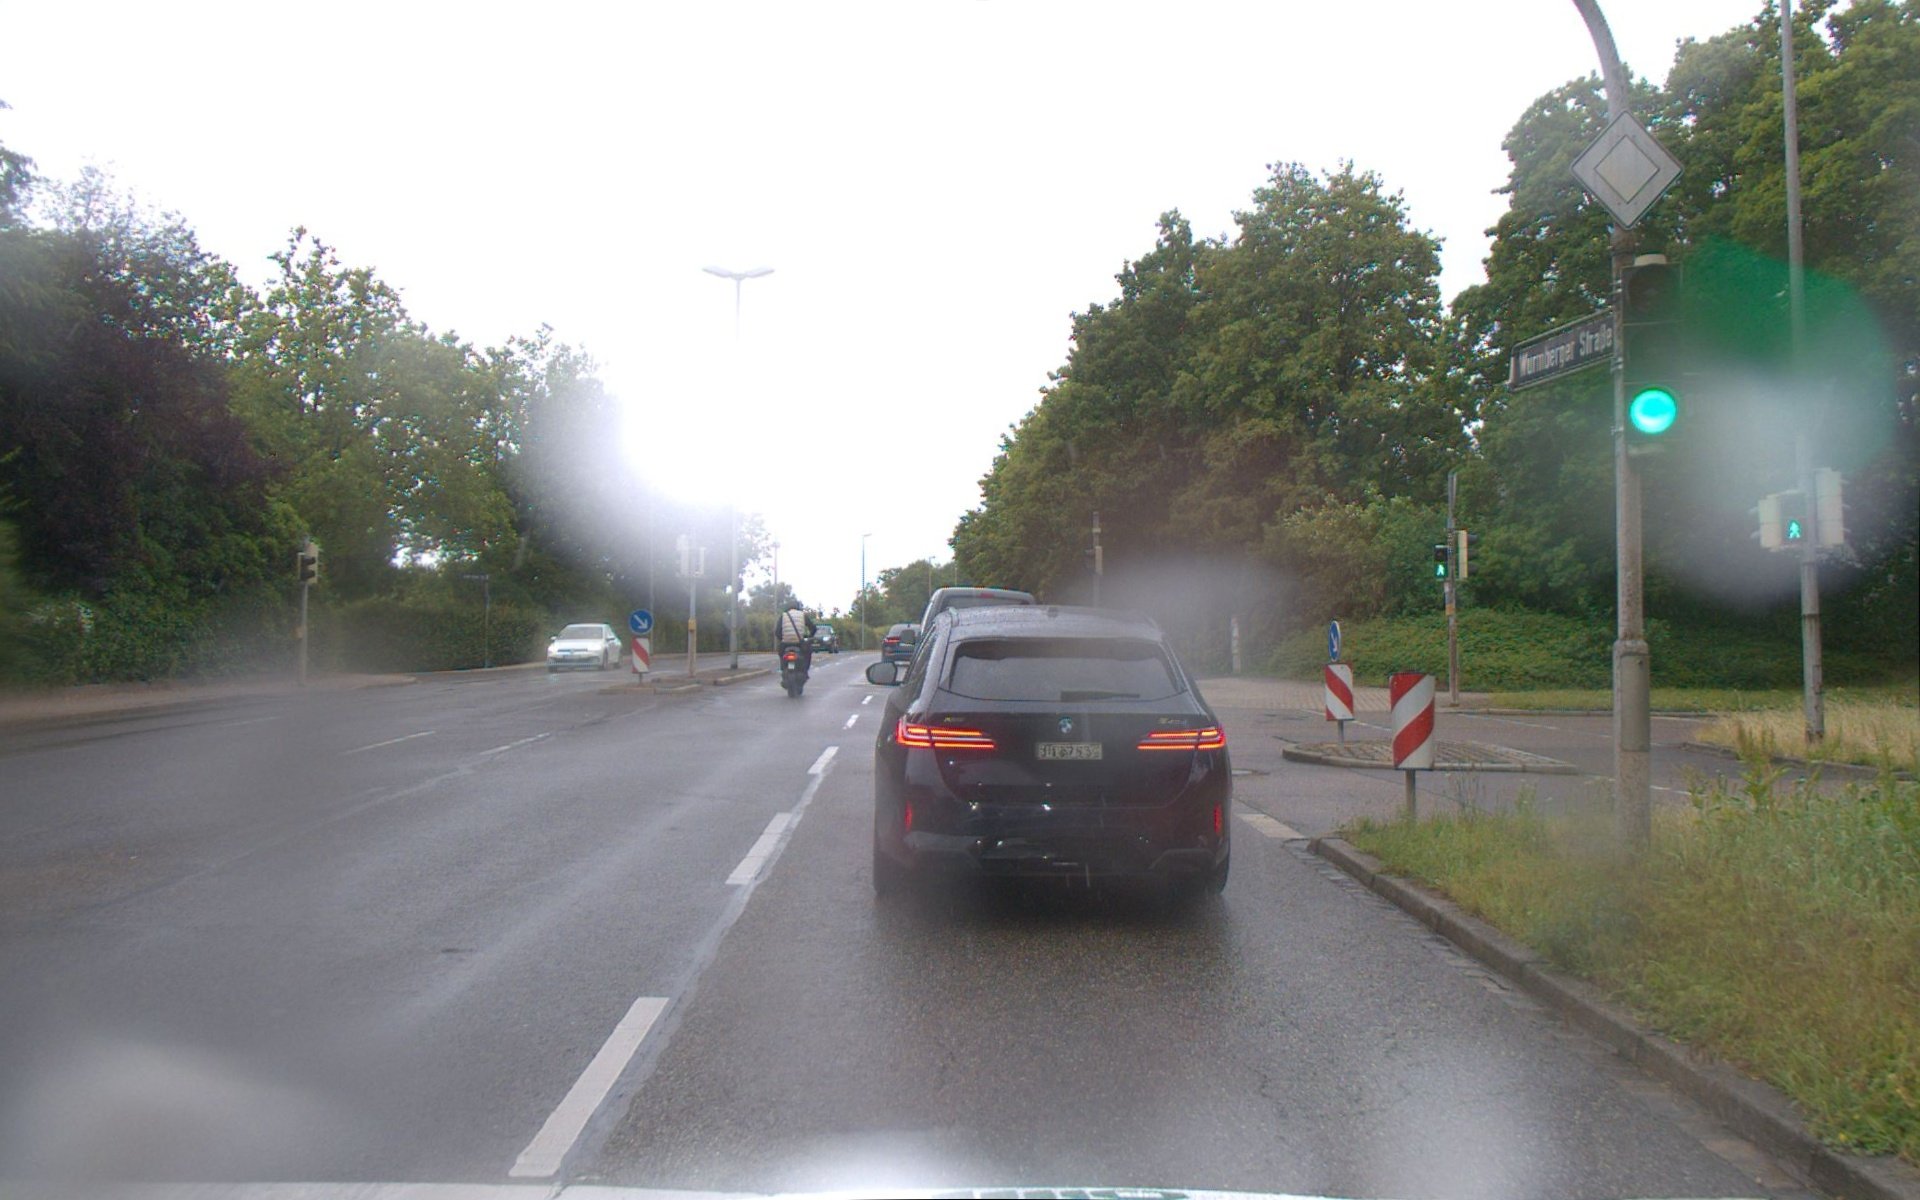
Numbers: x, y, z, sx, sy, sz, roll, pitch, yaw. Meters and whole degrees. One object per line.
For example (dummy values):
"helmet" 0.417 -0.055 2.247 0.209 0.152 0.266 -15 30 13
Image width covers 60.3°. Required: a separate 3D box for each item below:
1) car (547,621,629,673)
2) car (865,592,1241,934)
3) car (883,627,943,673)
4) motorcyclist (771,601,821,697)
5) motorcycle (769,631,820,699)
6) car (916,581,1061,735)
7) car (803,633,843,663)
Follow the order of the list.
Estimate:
"car" -11.683 1.452 52.170 1.692 1.511 4.155 -2 0 -1
"car" 0.437 0.767 9.533 1.728 1.563 3.672 1 0 0
"car" -1.638 1.736 58.668 1.973 1.440 4.486 1 0 0
"motorcyclist" -2.869 0.851 29.002 0.828 1.676 0.468 0 0 0
"motorcycle" -2.890 1.123 28.996 0.726 1.139 1.426 1 0 0
"car" 0.351 0.699 21.975 1.731 1.841 3.905 1 0 0
"car" -7.797 2.719 94.117 1.984 1.590 3.876 -1 -1 -1
